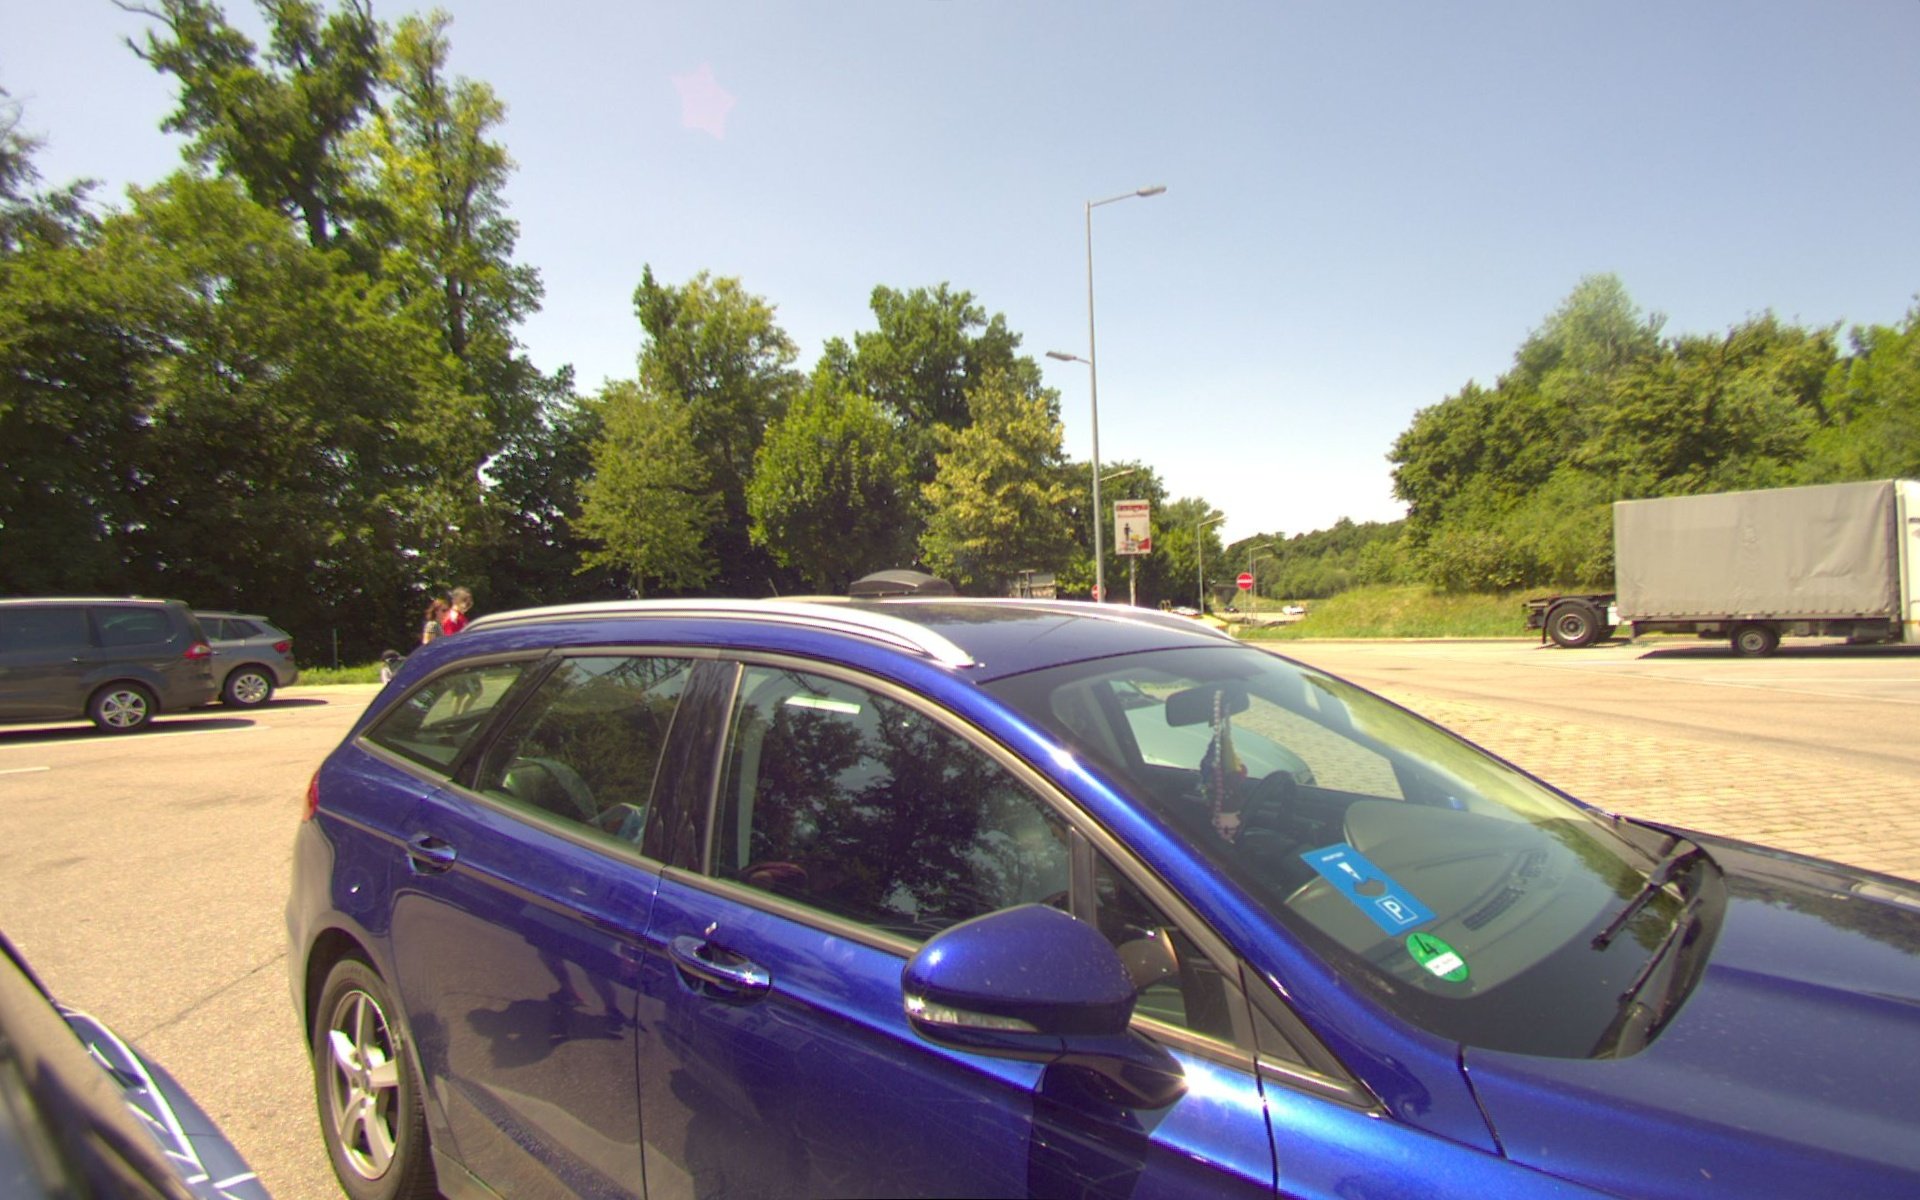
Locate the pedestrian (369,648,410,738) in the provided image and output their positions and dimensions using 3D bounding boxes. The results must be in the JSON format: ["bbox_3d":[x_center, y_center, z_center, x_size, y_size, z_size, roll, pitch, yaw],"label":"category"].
[{"bbox_3d":[-7.016,1.127,12.454,0.427,1.052,0.441,-1,-1,-28],"label":"pedestrian"}]

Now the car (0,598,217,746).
[{"bbox_3d":[-11.924,0.860,12.300,4.553,1.725,1.741,0,-1,-41],"label":"car"}]

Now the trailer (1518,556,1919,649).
[{"bbox_3d":[17.273,0.135,23.389,7.295,1.701,2.235,-4,-1,43],"label":"trailer"}]

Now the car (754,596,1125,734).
[{"bbox_3d":[-0.367,0.778,12.756,4.485,1.437,1.756,-3,-1,36],"label":"car"}]

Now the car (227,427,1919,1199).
[{"bbox_3d":[0.271,0.661,2.136,4.490,1.502,1.851,-3,0,40],"label":"car"}]

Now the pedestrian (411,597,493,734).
[{"bbox_3d":[-6.521,0.809,12.980,0.820,1.676,0.677,0,-1,-37],"label":"pedestrian"}]

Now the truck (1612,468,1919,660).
[{"bbox_3d":[16.846,-0.647,18.961,7.295,3.259,2.709,-4,-1,43],"label":"truck"}]

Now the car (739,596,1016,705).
[{"bbox_3d":[-1.459,0.831,16.856,4.485,1.562,1.756,-3,-1,36],"label":"car"}]

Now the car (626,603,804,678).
[{"bbox_3d":[-6.093,0.947,25.771,1.989,1.725,4.577,-1,0,25],"label":"car"}]

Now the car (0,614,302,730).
[{"bbox_3d":[-12.578,1.006,15.464,1.687,1.515,3.943,-1,0,43],"label":"car"}]

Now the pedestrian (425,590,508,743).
[{"bbox_3d":[-5.859,0.763,12.054,0.819,1.746,0.678,-1,-1,-21],"label":"pedestrian"}]

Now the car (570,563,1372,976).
[{"bbox_3d":[-0.240,0.695,5.834,4.490,1.511,1.754,-3,-1,40],"label":"car"}]

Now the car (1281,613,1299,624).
[{"bbox_3d":[55.173,3.066,169.122,1.852,1.796,3.996,-1,0,3],"label":"car"}]

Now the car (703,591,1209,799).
[{"bbox_3d":[-0.227,0.751,9.209,4.490,1.437,1.754,-3,-1,40],"label":"car"}]
